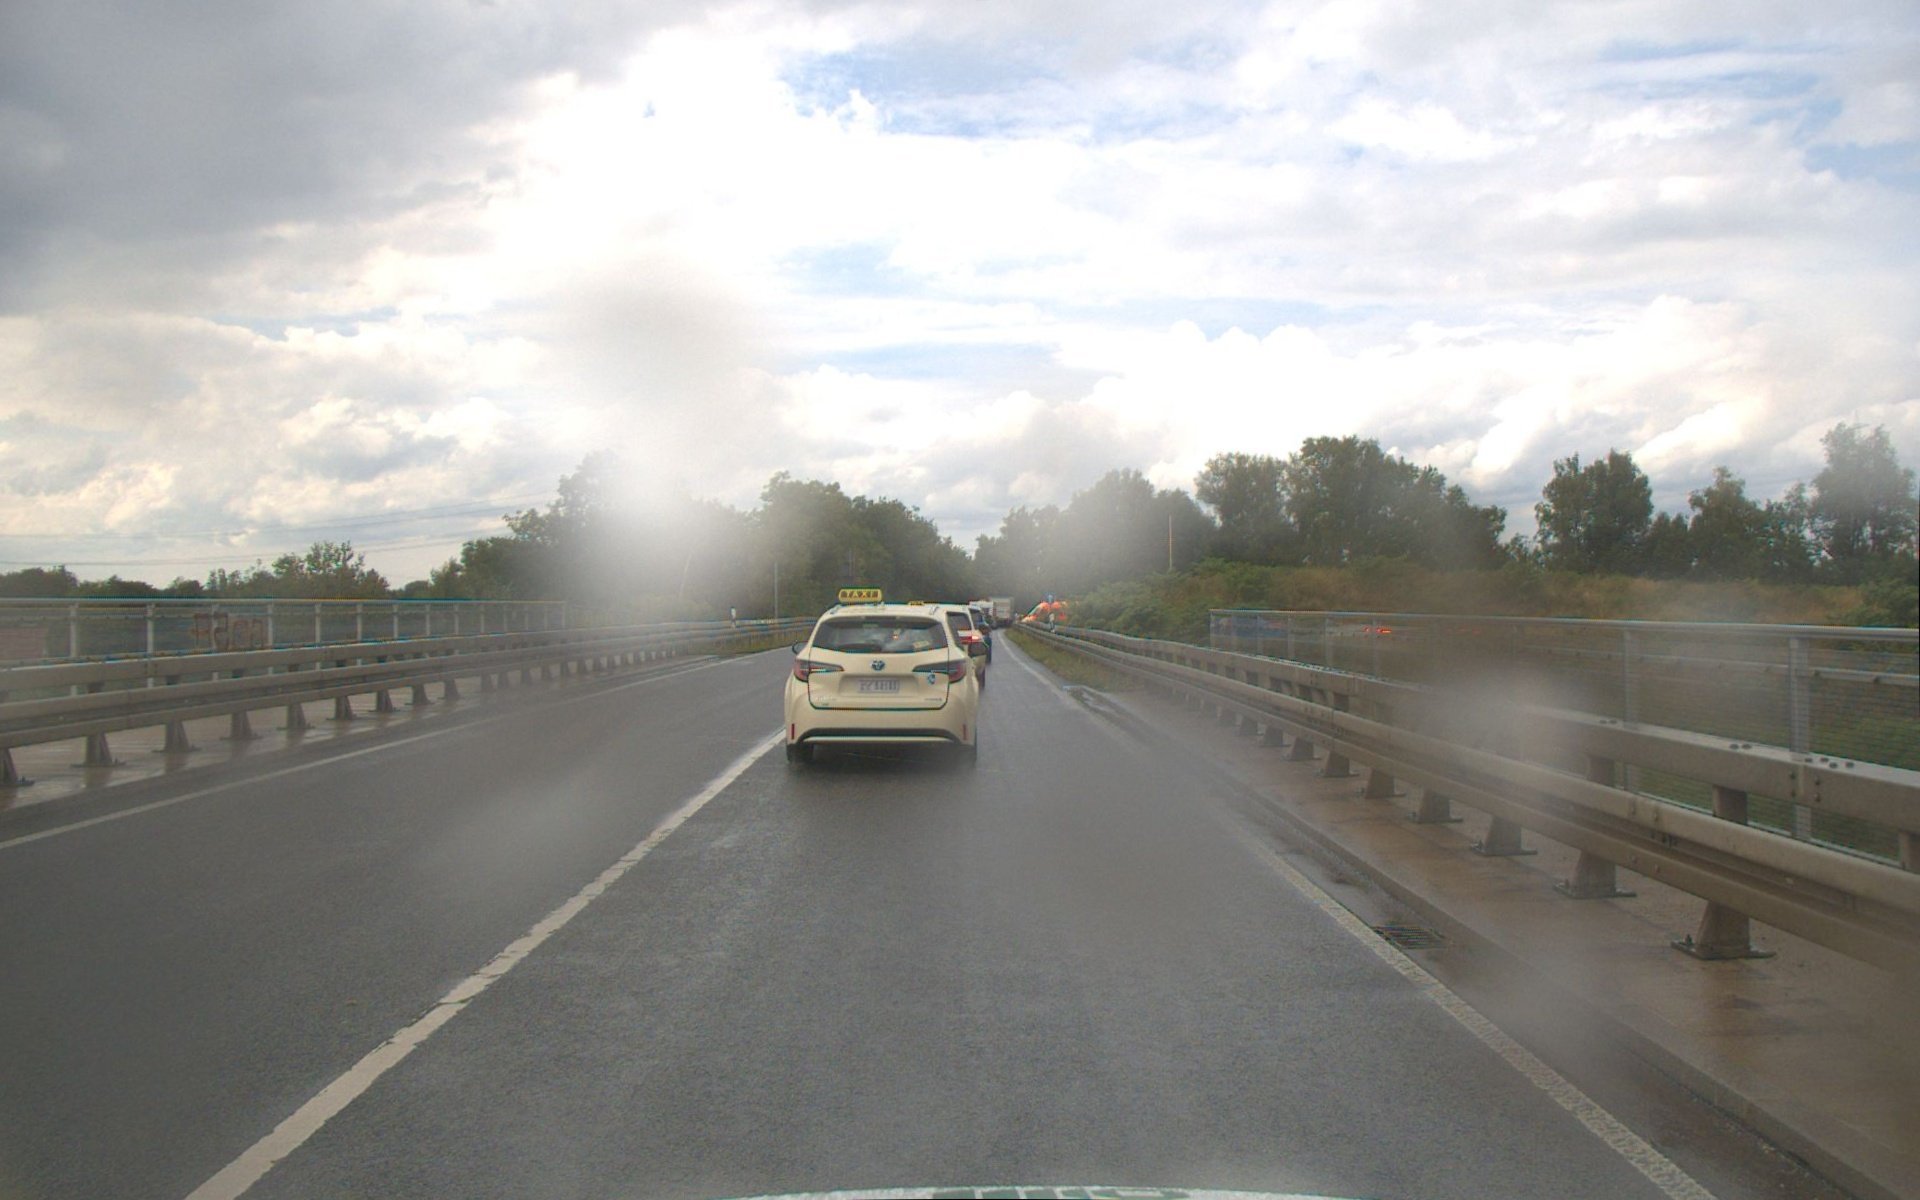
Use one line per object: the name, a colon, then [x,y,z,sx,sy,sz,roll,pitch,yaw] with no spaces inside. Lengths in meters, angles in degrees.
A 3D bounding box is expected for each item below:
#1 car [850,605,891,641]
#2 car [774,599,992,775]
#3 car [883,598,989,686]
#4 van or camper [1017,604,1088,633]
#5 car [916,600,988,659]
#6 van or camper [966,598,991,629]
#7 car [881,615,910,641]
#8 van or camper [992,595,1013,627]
car: [-4.049,1.057,75.413,1.679,1.543,3.859,1,-1,-1]
car: [-0.657,0.733,16.066,1.816,1.418,4.170,1,1,0]
car: [-0.422,0.731,30.887,1.816,1.468,4.170,1,1,0]
van or camper: [7.759,1.534,138.934,5.583,2.281,2.012,1,0,-15]
car: [-0.217,0.761,44.838,1.816,1.468,4.170,1,1,0]
van or camper: [1.814,1.265,157.589,2.284,2.914,6.307,1,0,1]
car: [-3.953,1.705,102.206,1.662,1.457,4.322,1,0,-1]
van or camper: [4.778,1.223,188.420,2.284,3.625,6.307,1,0,1]
